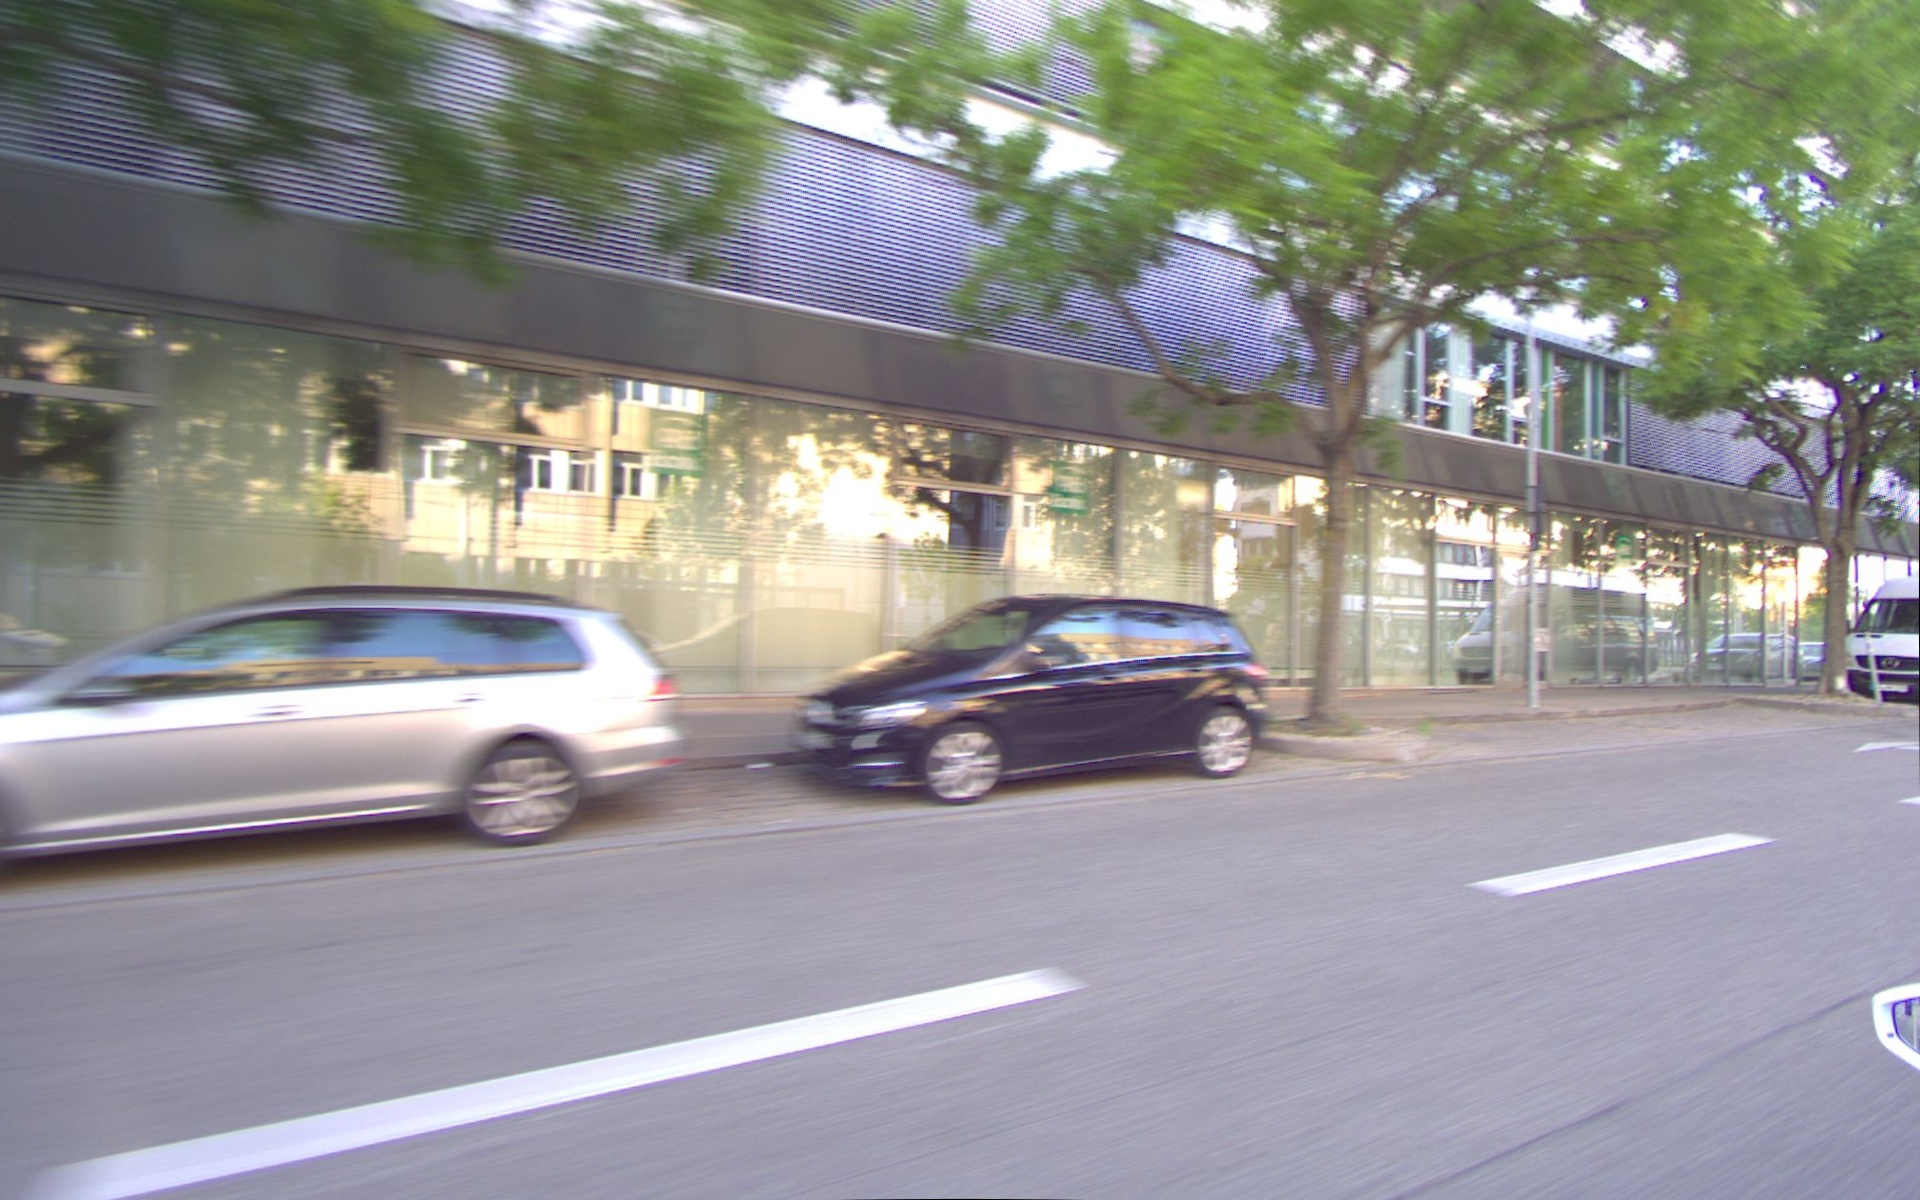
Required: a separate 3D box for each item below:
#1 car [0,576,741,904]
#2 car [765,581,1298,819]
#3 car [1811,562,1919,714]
[{"bbox_3d":[-3.814,0.680,6.016,4.572,1.481,1.695,2,1,-30],"label":"car"},{"bbox_3d":[0.723,0.732,8.639,4.419,1.589,1.582,2,1,-30],"label":"car"},{"bbox_3d":[19.739,0.782,20.005,6.869,2.699,2.091,2,-1,-30],"label":"car"}]
